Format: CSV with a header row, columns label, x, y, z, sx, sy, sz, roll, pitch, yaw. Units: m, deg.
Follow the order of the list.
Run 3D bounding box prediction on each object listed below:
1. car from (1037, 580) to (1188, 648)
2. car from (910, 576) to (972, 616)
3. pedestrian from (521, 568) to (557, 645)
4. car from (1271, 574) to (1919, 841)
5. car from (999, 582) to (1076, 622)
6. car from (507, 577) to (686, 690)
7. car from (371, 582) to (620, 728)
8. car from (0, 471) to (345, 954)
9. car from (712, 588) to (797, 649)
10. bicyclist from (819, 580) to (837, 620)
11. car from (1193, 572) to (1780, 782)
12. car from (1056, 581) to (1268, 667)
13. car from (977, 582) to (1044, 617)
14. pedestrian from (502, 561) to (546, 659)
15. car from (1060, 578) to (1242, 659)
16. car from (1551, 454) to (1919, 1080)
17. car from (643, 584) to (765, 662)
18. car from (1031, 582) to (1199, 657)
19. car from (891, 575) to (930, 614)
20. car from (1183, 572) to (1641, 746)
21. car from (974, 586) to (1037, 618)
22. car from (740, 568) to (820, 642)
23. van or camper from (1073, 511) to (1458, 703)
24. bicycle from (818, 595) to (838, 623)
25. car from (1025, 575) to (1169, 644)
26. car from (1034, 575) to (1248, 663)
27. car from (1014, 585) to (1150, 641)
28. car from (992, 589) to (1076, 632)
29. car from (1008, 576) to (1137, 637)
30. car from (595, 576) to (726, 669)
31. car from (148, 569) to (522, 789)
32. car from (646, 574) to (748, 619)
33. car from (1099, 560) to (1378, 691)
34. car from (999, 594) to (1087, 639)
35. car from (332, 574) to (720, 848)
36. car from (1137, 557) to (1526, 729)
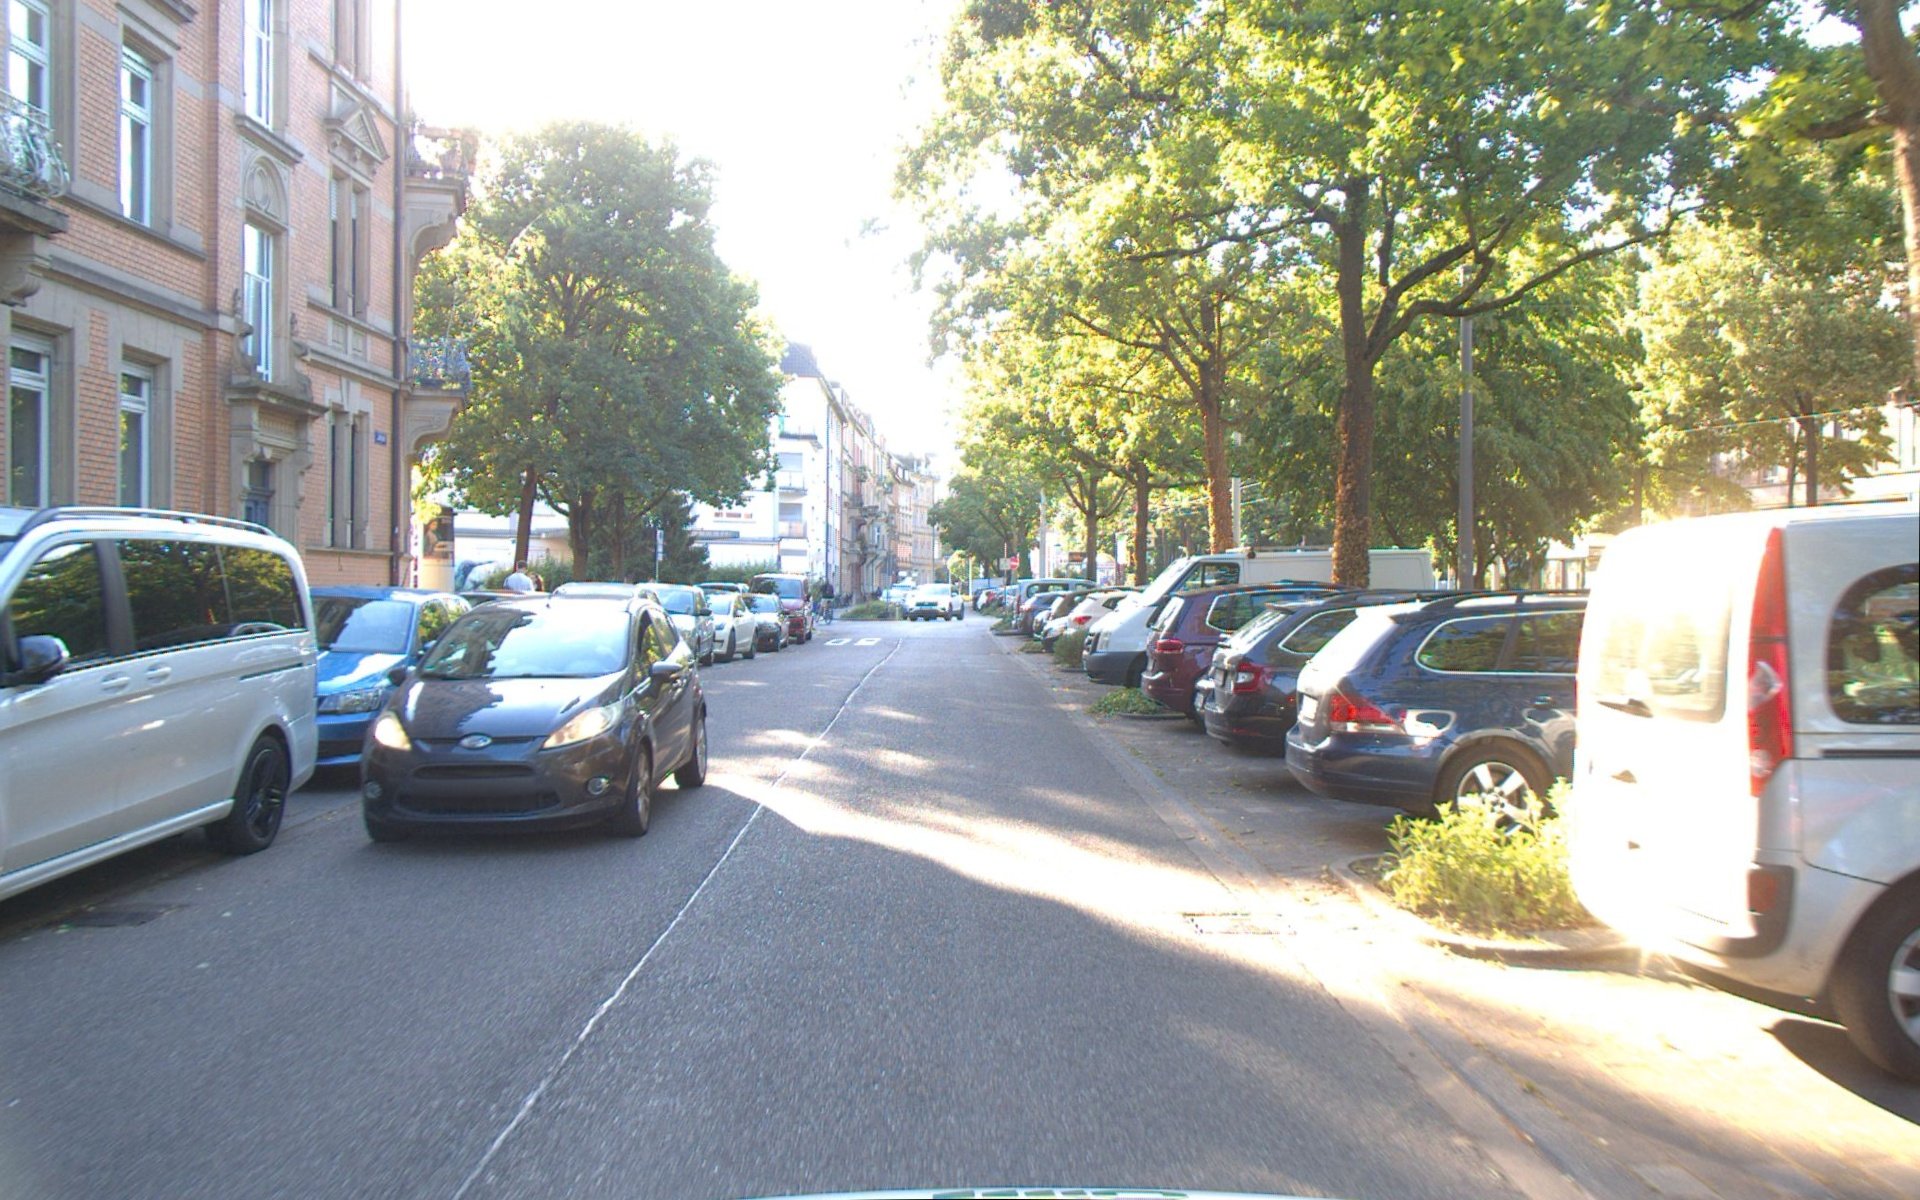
label,x,y,z,sx,sy,sz,roll,pitch,yaw
car,4.167,0.407,45.630,3.908,1.729,1.858,2,-1,-3
car,-0.811,-0.173,73.638,1.740,1.703,4.491,1,0,13
pedestrian,-8.805,0.132,34.612,0.585,1.577,0.708,0,2,-1
car,4.166,0.626,10.461,4.131,1.478,1.649,-1,0,3
car,4.264,0.126,90.613,3.902,2.049,2.001,1,-1,11
car,-5.267,0.441,24.464,1.669,1.454,3.878,3,0,1
car,-5.180,0.546,19.029,1.636,1.454,4.241,1,0,0
car,-4.888,0.467,8.067,1.953,1.954,5.038,1,-1,-2
car,-5.365,0.460,43.654,1.721,1.491,4.267,1,0,-1
bicyclist,-5.426,0.009,67.836,0.616,1.601,0.800,2,-2,-11
car,4.087,0.570,13.355,4.133,1.478,1.865,-1,0,0
car,3.980,0.483,32.985,3.908,1.575,1.858,2,-1,-3
car,3.170,-0.024,103.894,3.902,2.049,2.001,1,-1,11
pedestrian,-7.719,0.167,29.279,0.585,1.697,0.708,0,2,-1
car,4.387,0.448,38.318,3.908,1.729,1.858,2,-1,-3
car,4.504,0.458,5.911,4.133,1.896,1.762,-1,0,0
car,-5.341,0.446,34.996,1.720,1.491,4.269,1,0,2
car,3.797,0.492,40.958,3.908,1.729,1.858,2,-1,-3
car,-2.540,-0.246,85.219,1.953,1.870,3.998,1,-1,-2
car,4.232,0.533,15.972,3.905,1.486,1.859,-1,0,0
car,3.080,0.128,110.750,3.902,2.049,2.001,1,-1,11
car,-5.296,0.127,49.189,1.918,2.053,4.267,1,0,-1
van or camper,4.137,0.116,22.993,4.881,2.419,2.184,1,-1,-2
bicycle,-5.415,0.374,67.766,0.629,1.119,1.939,2,-1,-10
car,3.937,0.304,47.926,3.908,1.857,1.858,2,-1,-3
car,3.849,0.422,35.600,4.302,1.729,1.858,2,-1,-3
car,3.706,0.406,50.596,3.908,1.591,1.858,2,-1,-3
car,3.697,0.542,82.748,3.902,2.049,2.001,1,-1,11
car,3.598,0.218,53.267,3.908,1.825,1.858,2,-1,-3
car,-5.405,0.369,30.360,1.721,1.542,4.160,1,0,-2
car,-4.987,0.552,13.799,1.636,1.512,3.999,2,0,-1
car,-11.006,-0.122,69.497,3.905,1.736,2.000,1,-1,0
car,4.234,0.371,25.560,3.908,1.849,1.858,2,0,-3
car,3.983,0.793,79.207,3.902,2.049,2.001,1,-1,11
car,-2.704,0.600,11.210,1.634,1.489,3.999,-1,0,-1
car,4.027,0.448,18.431,3.905,1.721,1.859,-1,0,0
